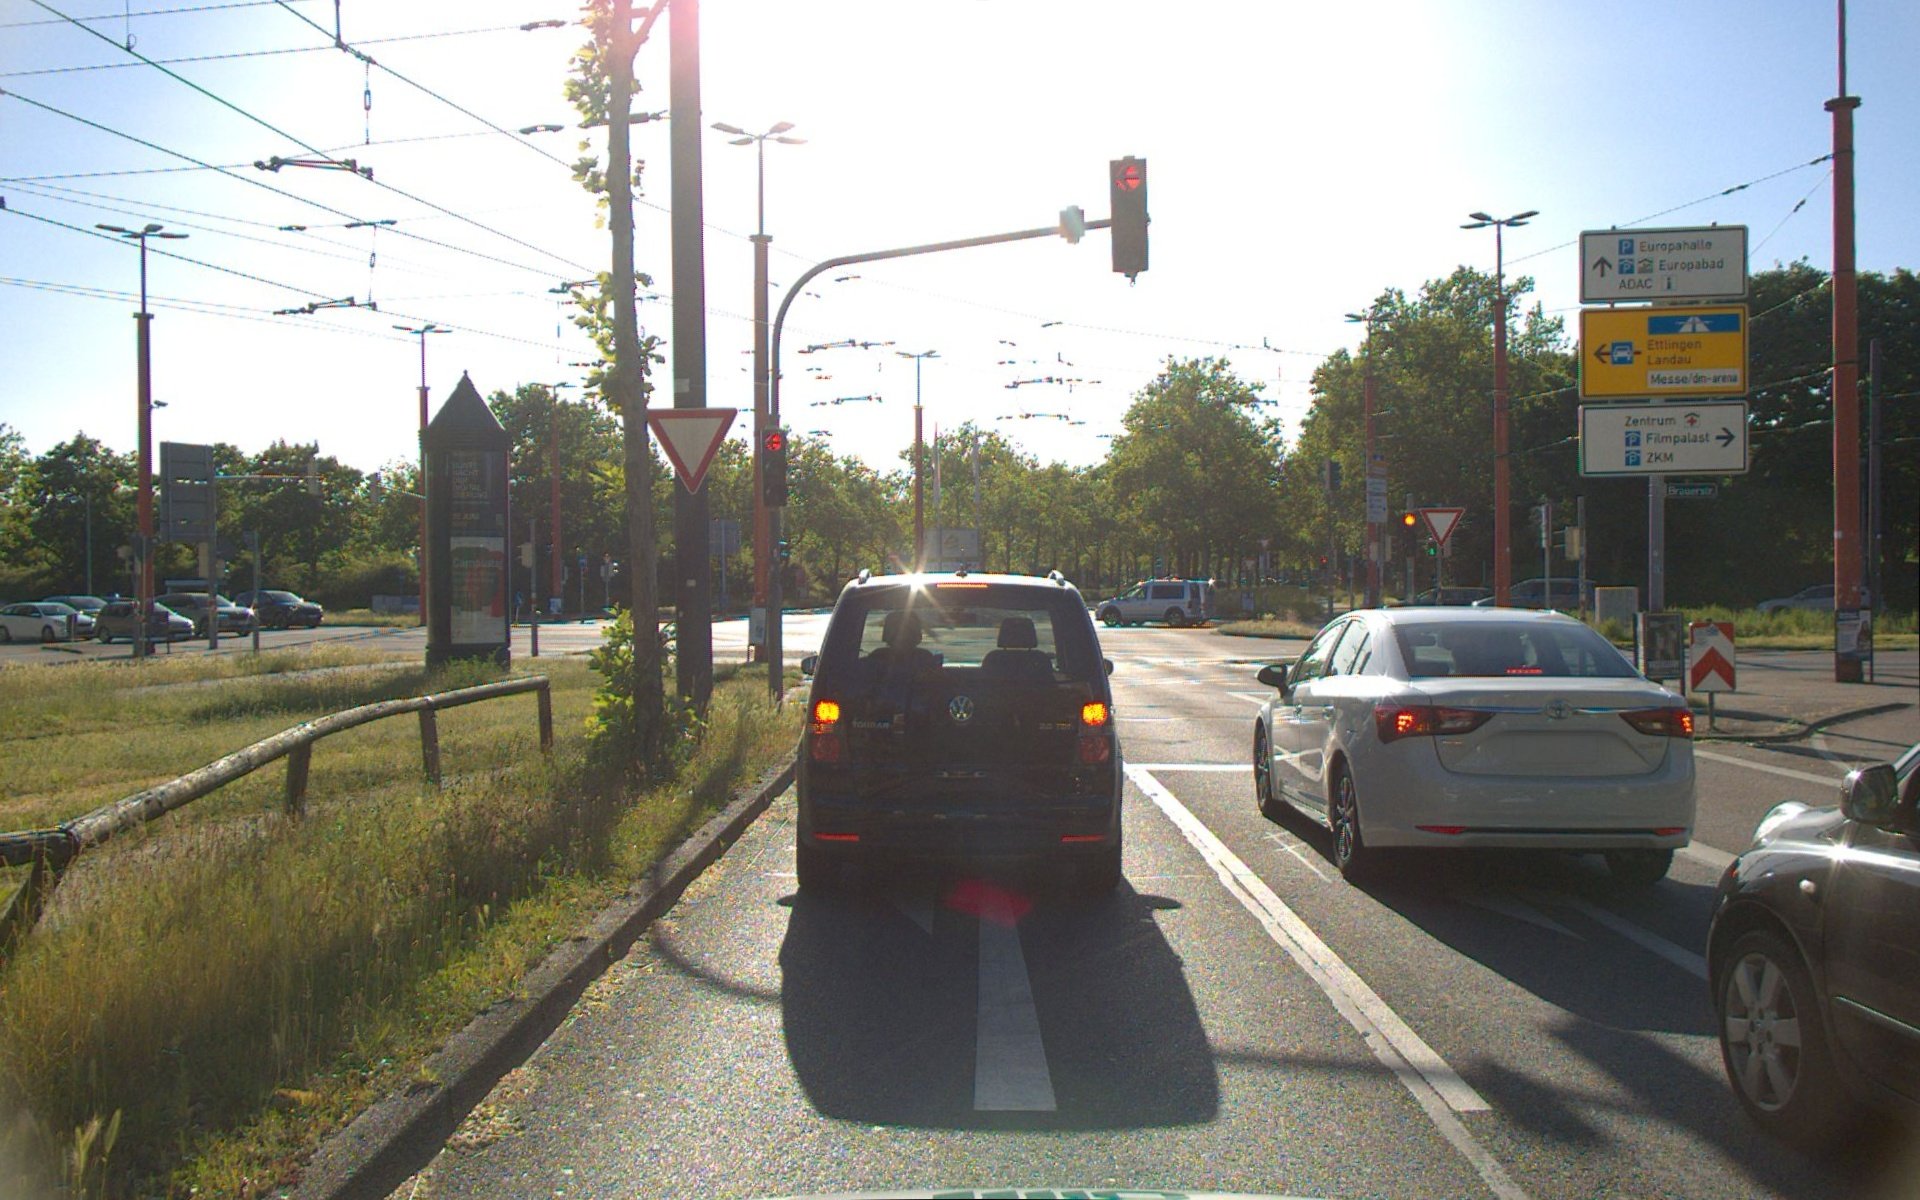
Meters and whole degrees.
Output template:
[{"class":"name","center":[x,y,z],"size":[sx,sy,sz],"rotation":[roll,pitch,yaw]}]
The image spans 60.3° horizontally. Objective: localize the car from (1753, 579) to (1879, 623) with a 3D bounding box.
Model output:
[{"class":"car","center":[30.159,0.030,58.377],"size":[3.887,1.466,1.685],"rotation":[1,0,27]}]

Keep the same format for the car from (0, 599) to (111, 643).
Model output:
[{"class":"car","center":[-34.662,0.771,63.152],"size":[4.091,1.640,1.867],"rotation":[0,0,25]}]

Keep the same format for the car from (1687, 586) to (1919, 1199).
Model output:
[{"class":"car","center":[3.187,0.743,3.575],"size":[1.620,1.526,3.614],"rotation":[1,0,0]}]

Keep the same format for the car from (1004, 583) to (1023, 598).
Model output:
[{"class":"car","center":[6.125,-1.108,189.569],"size":[1.874,1.664,4.003],"rotation":[1,0,6]}]

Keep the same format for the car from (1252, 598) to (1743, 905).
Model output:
[{"class":"car","center":[2.977,0.733,10.125],"size":[1.685,1.463,4.198],"rotation":[1,0,1]}]

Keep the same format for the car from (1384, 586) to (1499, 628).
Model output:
[{"class":"car","center":[18.773,0.261,64.520],"size":[4.040,1.537,1.821],"rotation":[1,0,26]}]

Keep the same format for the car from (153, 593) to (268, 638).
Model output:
[{"class":"car","center":[-28.995,0.572,63.986],"size":[3.907,1.673,1.999],"rotation":[0,0,24]}]

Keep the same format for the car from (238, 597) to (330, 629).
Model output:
[{"class":"car","center":[-29.259,0.534,71.613],"size":[3.913,1.353,1.694],"rotation":[0,0,31]}]

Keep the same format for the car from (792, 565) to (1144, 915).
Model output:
[{"class":"car","center":[0.004,0.664,9.802],"size":[1.666,1.650,3.896],"rotation":[0,0,-1]}]

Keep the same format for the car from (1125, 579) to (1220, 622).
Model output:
[{"class":"car","center":[8.914,0.025,69.372],"size":[3.570,1.684,1.679],"rotation":[1,0,25]}]

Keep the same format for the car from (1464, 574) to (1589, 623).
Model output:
[{"class":"car","center":[20.557,-0.069,60.023],"size":[4.097,1.673,1.758],"rotation":[1,0,26]}]

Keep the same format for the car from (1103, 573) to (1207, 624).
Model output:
[{"class":"car","center":[7.794,-0.067,66.154],"size":[3.754,1.923,1.763],"rotation":[1,0,22]}]
